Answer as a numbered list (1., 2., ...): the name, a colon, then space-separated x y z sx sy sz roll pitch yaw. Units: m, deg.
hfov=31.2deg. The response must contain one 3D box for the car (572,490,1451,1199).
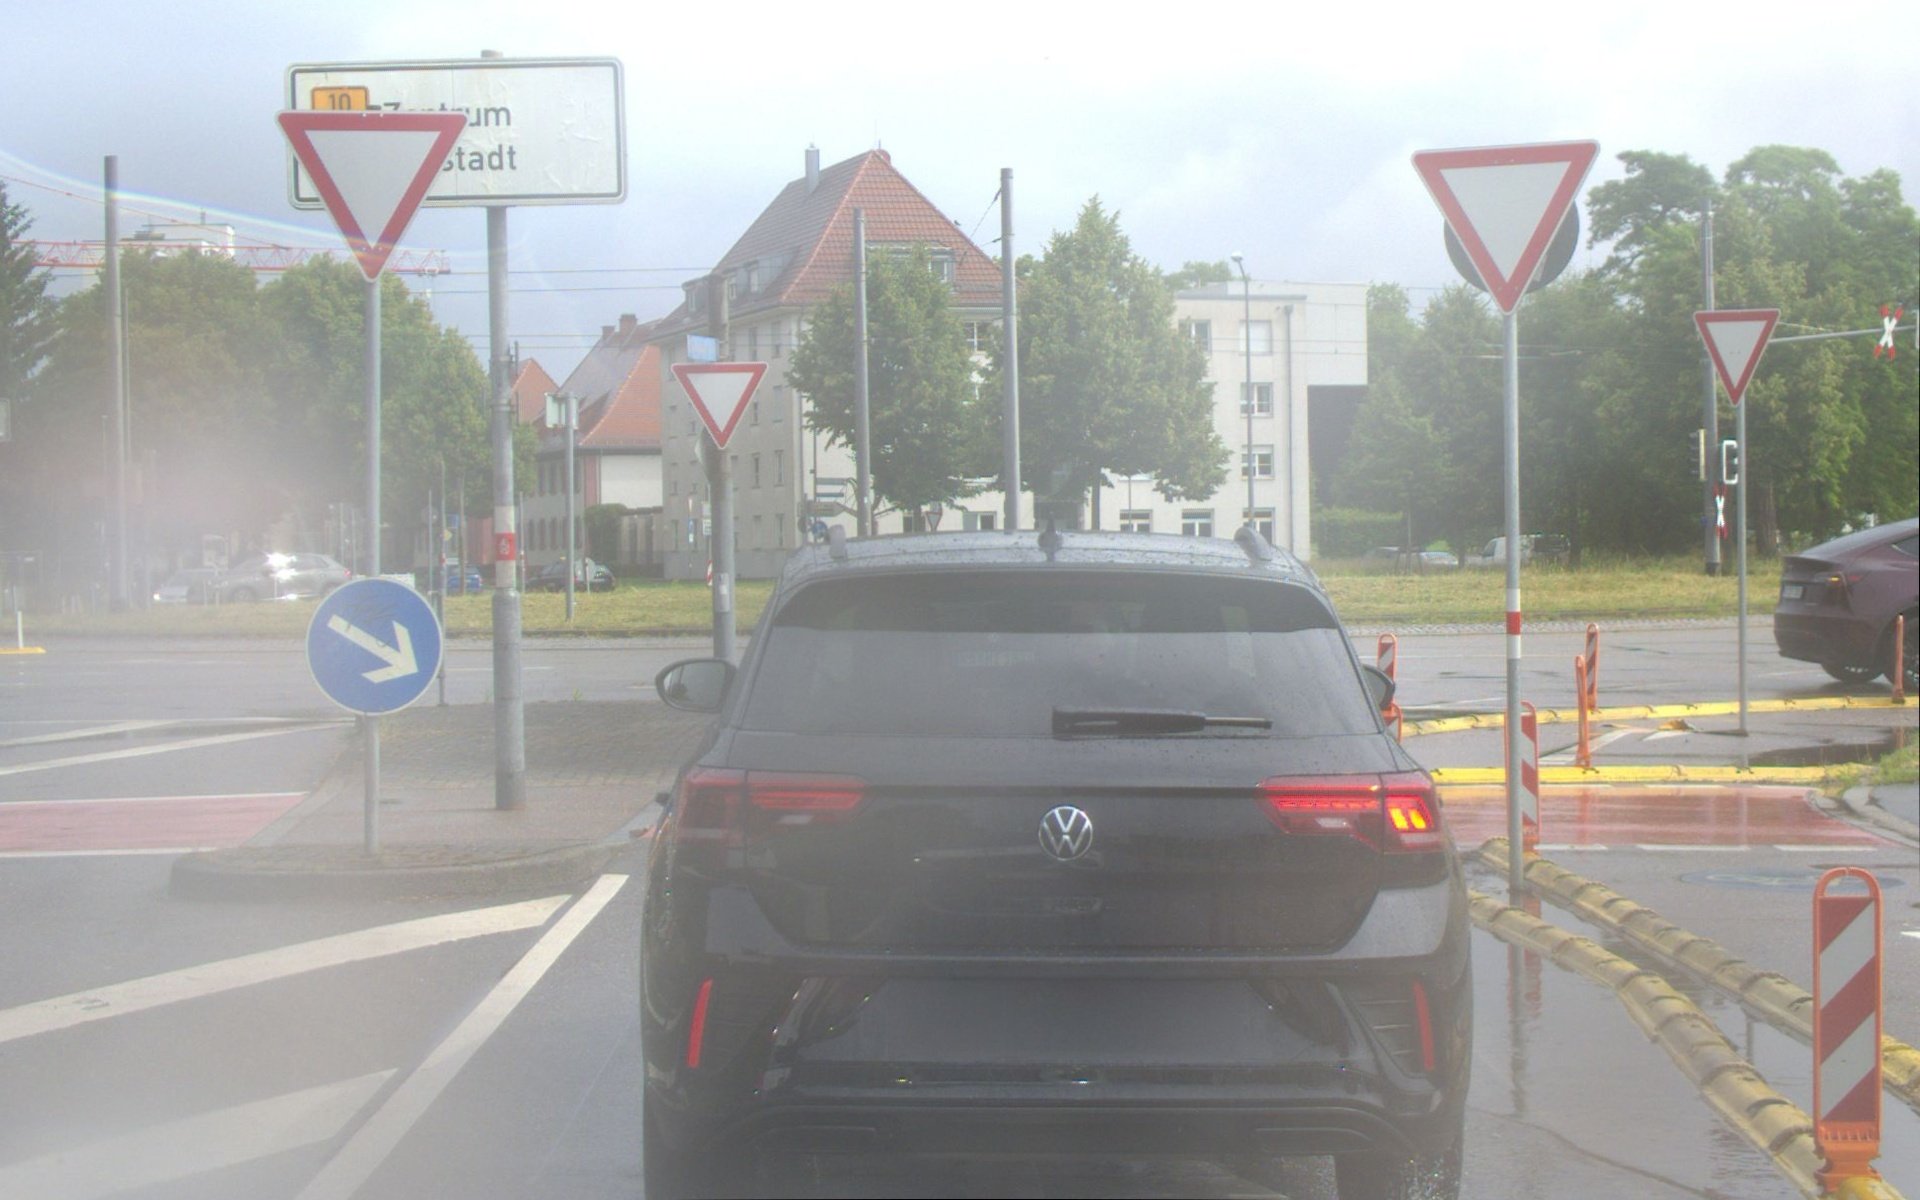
1. car: 0.012 0.551 8.519 1.708 1.568 3.683 0 1 -3

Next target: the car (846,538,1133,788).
1. car: 0.237 0.353 22.716 1.735 1.509 3.604 0 1 2

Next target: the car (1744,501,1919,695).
1. car: 9.718 -0.066 31.955 4.341 1.719 2.000 -1 1 -2

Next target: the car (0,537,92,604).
1. car: -22.986 -0.722 83.197 3.496 1.579 1.567 -1 1 -37
